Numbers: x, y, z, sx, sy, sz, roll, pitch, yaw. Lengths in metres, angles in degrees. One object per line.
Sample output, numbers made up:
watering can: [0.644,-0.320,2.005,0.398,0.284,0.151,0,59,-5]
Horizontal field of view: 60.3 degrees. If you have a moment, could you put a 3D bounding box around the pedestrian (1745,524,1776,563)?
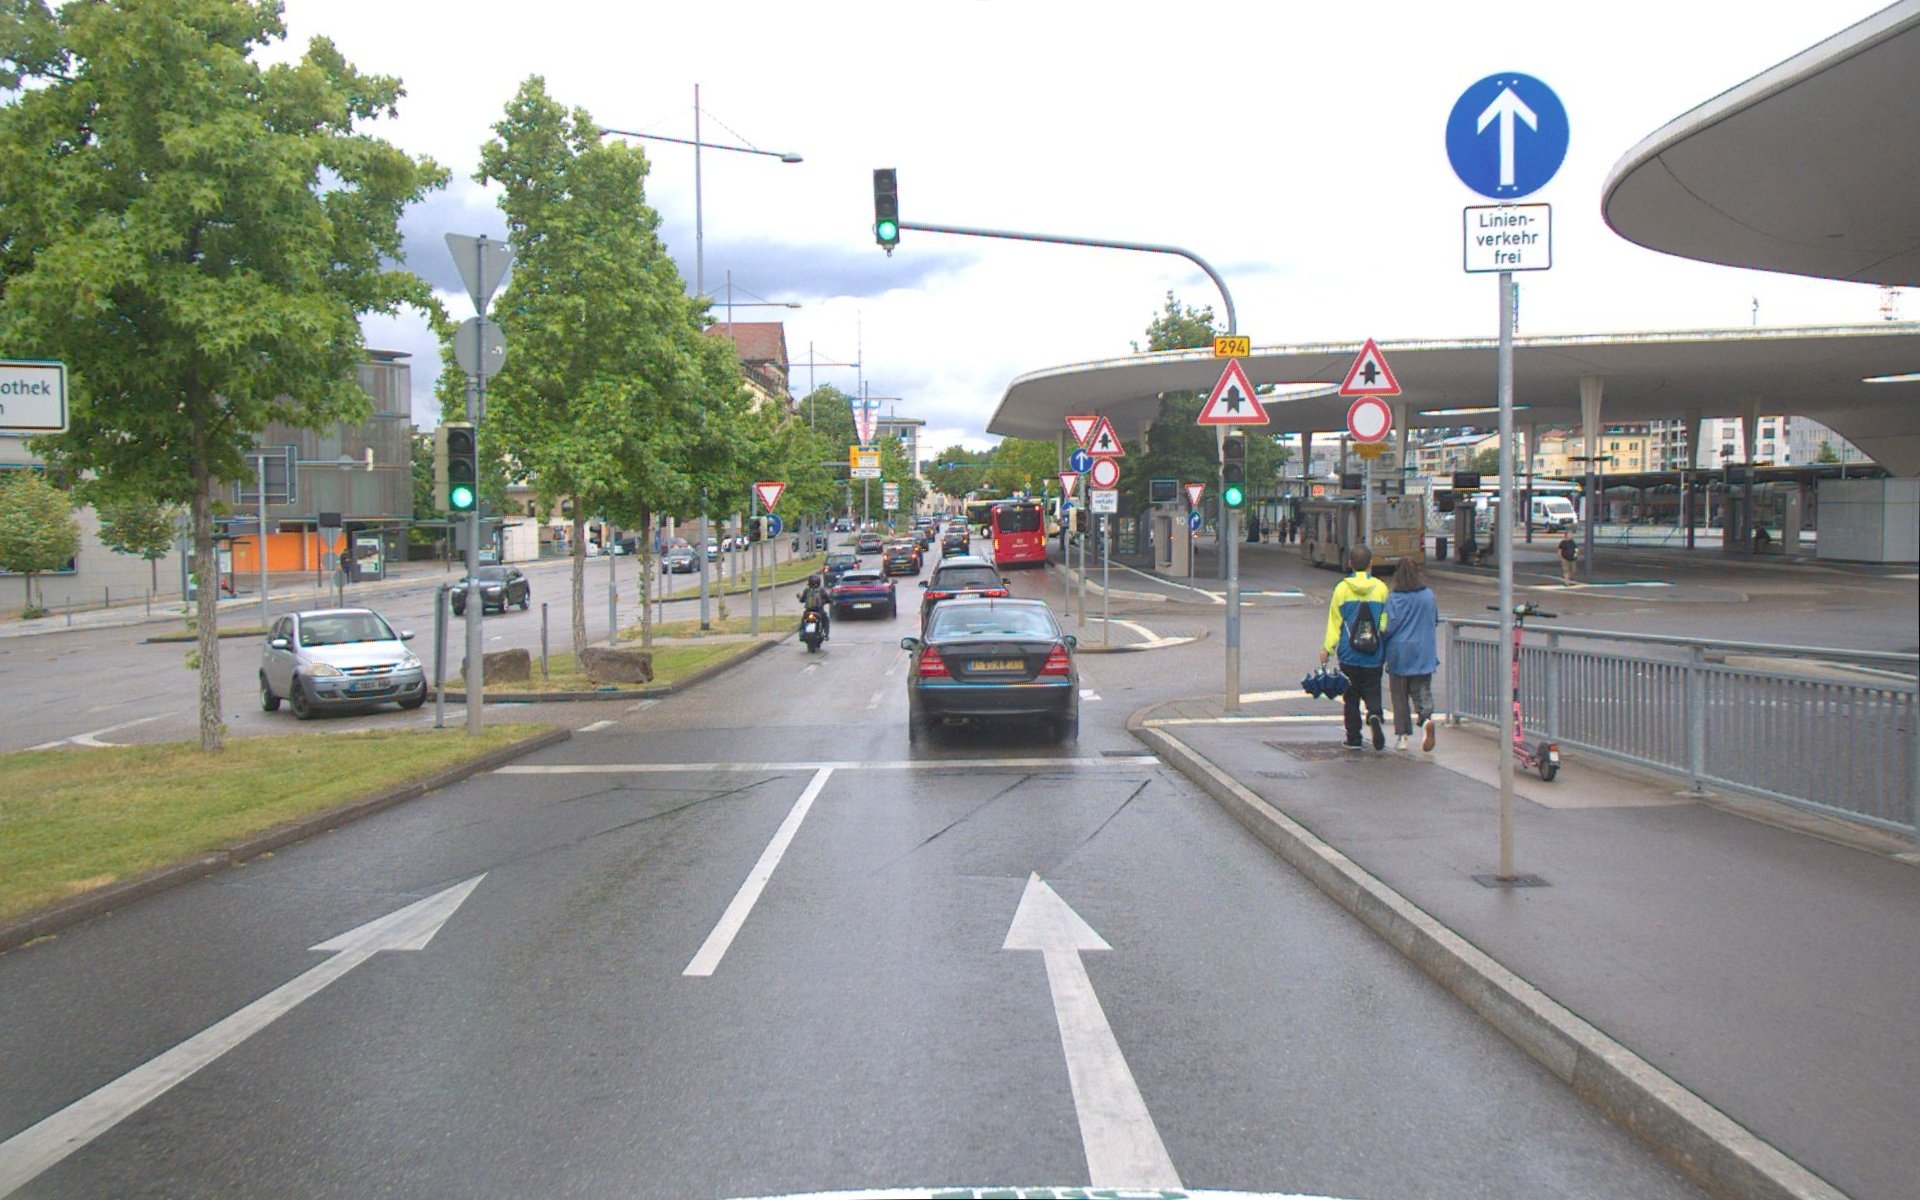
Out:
pedestrian: [33.619,-2.389,69.448,0.779,1.613,0.907,0,2,-7]

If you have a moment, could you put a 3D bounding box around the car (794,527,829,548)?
car: [-11.814,-4.930,131.235,1.703,1.588,3.743,-1,1,-22]

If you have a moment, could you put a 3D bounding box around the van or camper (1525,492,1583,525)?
van or camper: [41.213,-6.326,114.840,1.953,2.139,5.480,1,1,-1]

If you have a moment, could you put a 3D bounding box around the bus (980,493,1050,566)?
bus: [2.704,-3.692,84.754,3.219,3.348,10.882,-2,3,1]

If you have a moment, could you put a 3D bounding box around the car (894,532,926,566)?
car: [-2.730,-2.815,90.554,1.543,1.593,3.872,-4,3,0]

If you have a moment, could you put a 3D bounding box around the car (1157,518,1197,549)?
car: [12.397,-3.820,94.605,1.677,1.690,4.240,-1,3,-1]

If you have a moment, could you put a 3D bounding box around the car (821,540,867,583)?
car: [-5.014,-1.697,71.805,1.642,1.651,3.872,-4,3,0]

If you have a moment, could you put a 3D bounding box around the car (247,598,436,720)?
car: [-8.827,0.784,23.425,1.618,1.473,3.830,-4,2,-34]

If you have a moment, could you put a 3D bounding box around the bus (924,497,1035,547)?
bus: [1.568,-6.727,143.504,2.820,4.056,11.697,-4,4,-39]

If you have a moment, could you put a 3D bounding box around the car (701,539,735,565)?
car: [-17.376,-3.475,118.970,1.809,1.681,4.420,-2,3,0]

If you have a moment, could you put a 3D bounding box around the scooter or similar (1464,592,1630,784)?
scooter or similar: [4.126,0.583,11.756,0.454,1.242,1.859,-2,0,-1]

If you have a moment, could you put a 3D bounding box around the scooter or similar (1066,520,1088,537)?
scooter or similar: [7.454,-4.533,105.313,1.216,1.030,0.765,-1,2,14]

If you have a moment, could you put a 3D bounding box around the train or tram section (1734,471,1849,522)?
train or tram section: [66.434,-8.268,132.590,3.068,3.744,11.618,2,3,-1]

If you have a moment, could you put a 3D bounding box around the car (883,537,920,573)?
car: [-2.830,-2.224,81.093,1.543,1.530,3.873,-4,3,1]

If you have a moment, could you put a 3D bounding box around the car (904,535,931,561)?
car: [-2.996,-3.655,116.882,1.828,1.713,3.999,2,0,-1]

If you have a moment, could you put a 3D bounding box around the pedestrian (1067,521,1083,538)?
pedestrian: [7.301,-4.461,105.013,0.894,1.002,0.634,0,-1,14]

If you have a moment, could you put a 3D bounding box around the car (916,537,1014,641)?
car: [0.088,-0.319,36.797,1.918,1.907,4.875,-4,3,0]

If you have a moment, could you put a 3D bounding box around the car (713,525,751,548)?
car: [-19.588,-5.413,141.990,1.629,1.836,3.592,2,0,-37]

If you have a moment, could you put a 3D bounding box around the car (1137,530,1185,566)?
car: [8.982,-2.340,74.002,1.614,1.478,3.237,-2,4,-2]

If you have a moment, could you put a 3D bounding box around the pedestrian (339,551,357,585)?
pedestrian: [-30.963,-1.621,83.636,0.464,1.712,0.764,-2,3,6]

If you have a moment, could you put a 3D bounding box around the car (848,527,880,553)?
car: [-6.806,-4.227,116.672,1.831,1.713,3.992,2,0,-9]

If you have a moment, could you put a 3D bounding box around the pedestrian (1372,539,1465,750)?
pedestrian: [3.788,0.366,13.692,0.577,1.700,0.580,1,-2,-1]

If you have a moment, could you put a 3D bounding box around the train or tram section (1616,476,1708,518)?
train or tram section: [66.053,-9.720,156.075,3.068,3.722,12.326,2,3,-1]

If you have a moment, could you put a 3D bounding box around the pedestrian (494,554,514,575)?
pedestrian: [-30.303,-2.352,109.929,0.955,1.289,0.850,3,4,20]

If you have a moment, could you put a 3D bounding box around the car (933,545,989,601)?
car: [0.034,-0.928,54.817,1.706,1.593,3.872,-4,3,0]

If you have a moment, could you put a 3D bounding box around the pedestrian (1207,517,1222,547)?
pedestrian: [14.076,-3.766,91.646,0.587,1.609,0.710,-2,1,-9]

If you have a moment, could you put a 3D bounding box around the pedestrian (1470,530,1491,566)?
pedestrian: [21.170,-2.115,67.220,0.776,1.401,0.634,-1,3,17]

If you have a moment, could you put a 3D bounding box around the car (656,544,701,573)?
car: [-16.917,-2.518,99.562,1.809,1.530,4.921,-1,3,1]

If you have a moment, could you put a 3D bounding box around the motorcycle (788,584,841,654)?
motorcycle: [-3.008,0.370,34.328,0.776,1.283,1.856,-3,3,3]

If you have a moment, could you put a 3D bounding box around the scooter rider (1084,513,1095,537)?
scooter rider: [8.239,-4.764,105.116,0.579,1.515,0.765,-1,2,13]

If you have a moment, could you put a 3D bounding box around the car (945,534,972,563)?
car: [-0.083,-3.222,102.304,1.543,1.593,3.872,-4,3,0]

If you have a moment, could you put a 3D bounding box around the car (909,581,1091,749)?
car: [0.342,0.569,17.260,1.663,1.487,4.303,0,1,-1]

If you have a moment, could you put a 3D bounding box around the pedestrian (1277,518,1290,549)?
pedestrian: [18.388,-3.770,93.918,0.549,1.721,0.613,-1,3,-7]

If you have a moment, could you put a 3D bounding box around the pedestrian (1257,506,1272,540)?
pedestrian: [18.809,-4.740,102.110,0.709,2.049,0.669,2,-1,26]

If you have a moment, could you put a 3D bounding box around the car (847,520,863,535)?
car: [-12.523,-8.639,197.562,1.543,1.593,3.431,-4,3,0]

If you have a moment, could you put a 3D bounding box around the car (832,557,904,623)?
car: [-2.665,-0.347,48.783,1.779,1.597,4.405,-4,4,0]

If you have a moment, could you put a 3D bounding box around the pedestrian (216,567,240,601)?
pedestrian: [-31.432,-0.706,71.026,0.664,1.416,0.721,-2,2,-2]

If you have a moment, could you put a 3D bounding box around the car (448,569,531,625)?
car: [-17.101,-0.155,60.315,1.870,1.690,4.857,-1,4,-4]

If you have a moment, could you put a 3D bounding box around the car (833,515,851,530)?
car: [-13.716,-8.981,191.927,1.744,1.593,3.431,-4,3,0]

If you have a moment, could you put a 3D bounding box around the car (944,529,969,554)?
car: [-0.298,-4.461,126.746,1.828,1.713,3.999,2,0,-1]

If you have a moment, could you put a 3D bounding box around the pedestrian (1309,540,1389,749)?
pedestrian: [3.221,0.360,13.730,0.512,1.699,0.580,0,0,-1]

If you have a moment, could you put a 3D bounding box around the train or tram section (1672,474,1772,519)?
train or tram section: [66.232,-9.000,144.121,3.068,3.722,11.618,2,3,-1]

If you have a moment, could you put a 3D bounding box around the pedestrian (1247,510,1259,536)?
pedestrian: [18.708,-4.892,105.487,0.568,1.606,0.560,2,-1,29]

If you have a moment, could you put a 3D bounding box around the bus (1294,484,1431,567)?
bus: [16.755,-3.208,69.866,2.666,3.095,12.092,-2,3,0]

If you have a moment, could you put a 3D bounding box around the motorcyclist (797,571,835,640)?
motorcyclist: [-2.996,0.104,34.466,0.628,1.370,0.689,-2,3,3]

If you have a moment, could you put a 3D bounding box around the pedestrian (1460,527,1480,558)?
pedestrian: [21.347,-2.401,69.193,0.776,1.247,0.634,-1,3,17]

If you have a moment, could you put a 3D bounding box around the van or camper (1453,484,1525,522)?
van or camper: [38.890,-7.152,121.660,4.514,2.602,2.118,1,1,-2]

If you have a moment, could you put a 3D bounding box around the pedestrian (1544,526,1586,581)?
pedestrian: [19.517,-1.504,53.388,0.709,1.712,1.013,-4,3,-26]
